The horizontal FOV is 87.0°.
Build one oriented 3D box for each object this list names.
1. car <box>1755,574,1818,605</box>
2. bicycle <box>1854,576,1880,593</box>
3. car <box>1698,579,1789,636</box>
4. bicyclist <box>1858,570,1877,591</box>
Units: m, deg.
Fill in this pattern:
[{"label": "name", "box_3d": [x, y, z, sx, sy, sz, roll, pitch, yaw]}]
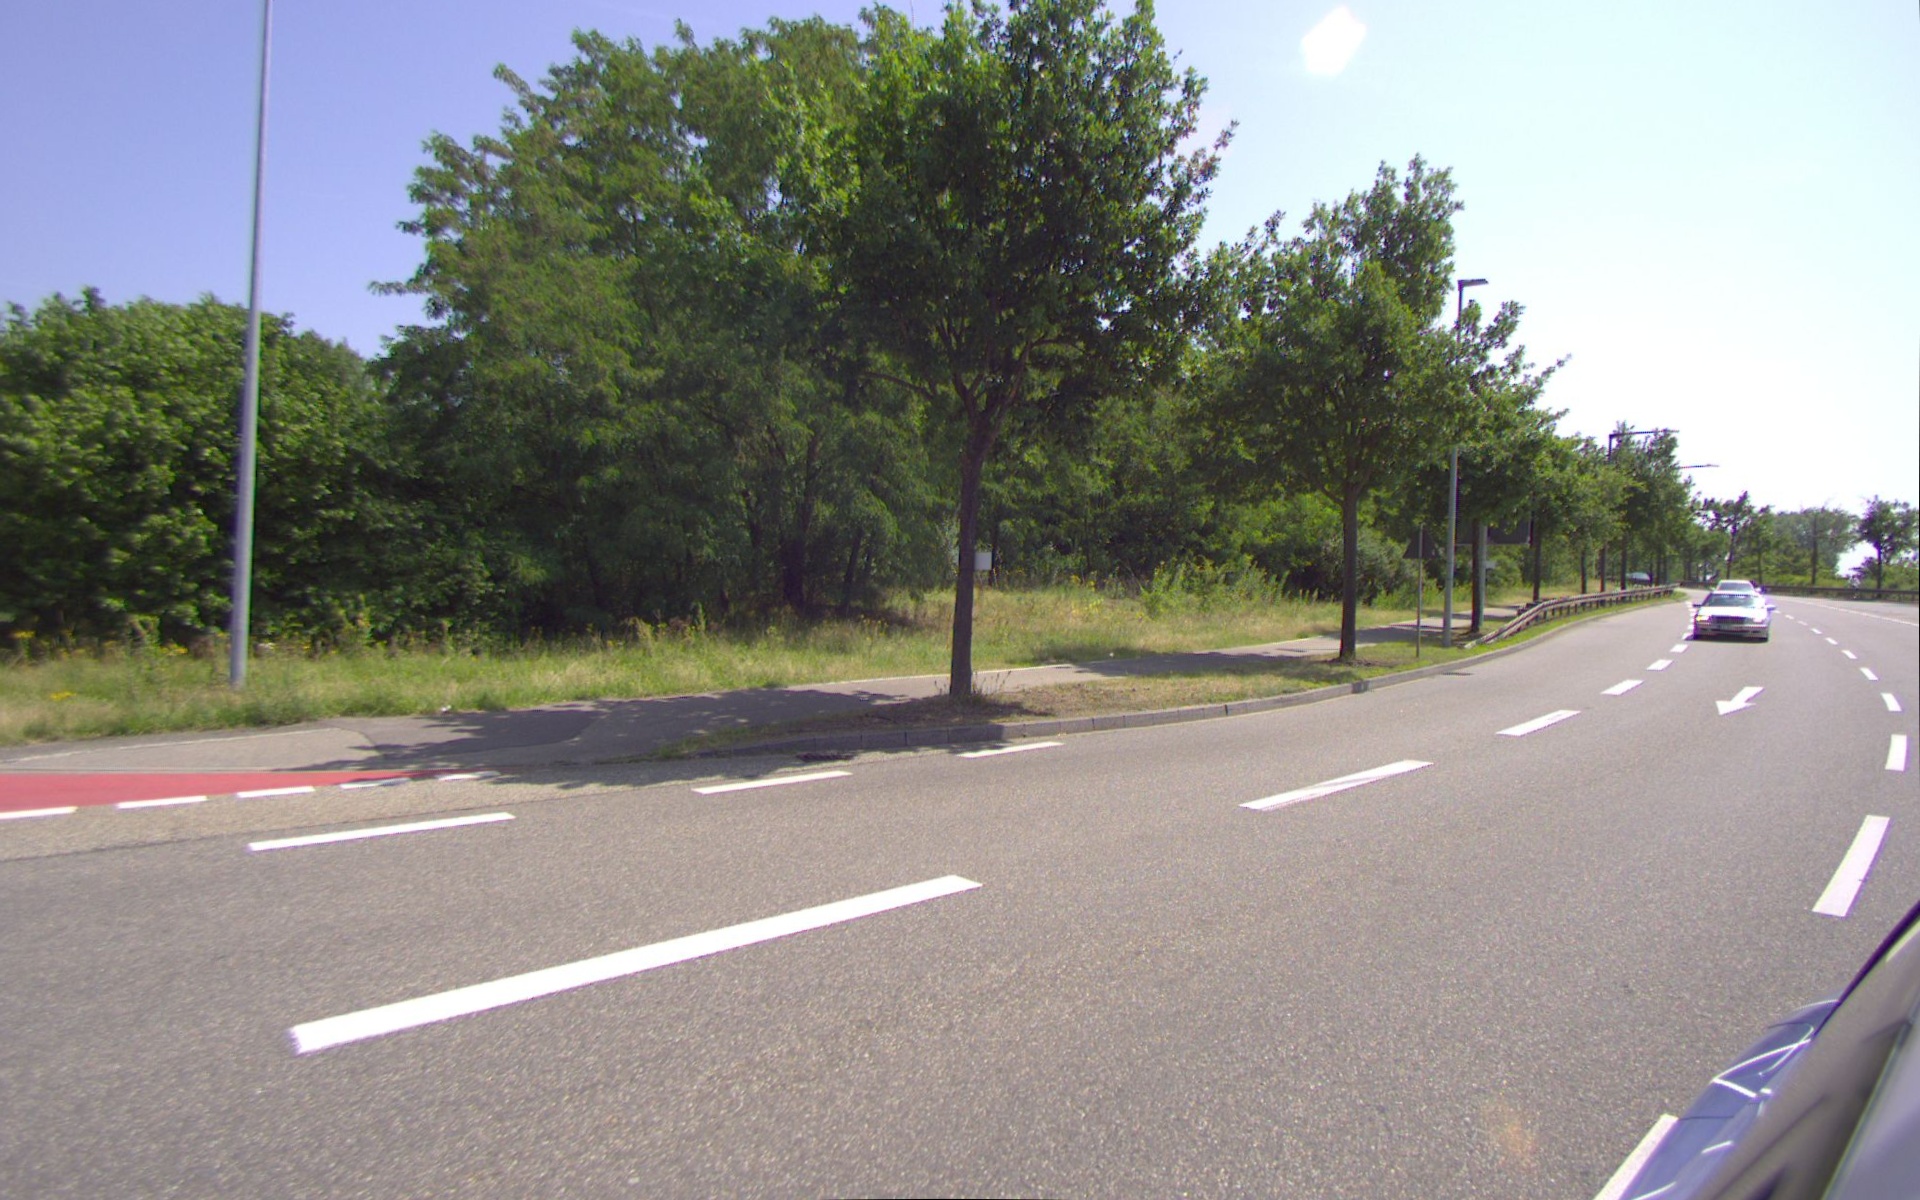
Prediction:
[{"label": "car", "box_3d": [39.462, -0.499, 48.413, 1.988, 1.386, 4.180, 2, 1, 35]}, {"label": "bicycle", "box_3d": [67.412, -1.150, 75.243, 0.729, 1.129, 2.030, 6, 5, 23]}, {"label": "car", "box_3d": [23.046, 0.173, 29.695, 1.758, 1.517, 4.168, 2, 2, 43]}, {"label": "bicyclist", "box_3d": [67.428, -1.463, 75.194, 0.724, 1.482, 0.818, 6, 4, 24]}]
